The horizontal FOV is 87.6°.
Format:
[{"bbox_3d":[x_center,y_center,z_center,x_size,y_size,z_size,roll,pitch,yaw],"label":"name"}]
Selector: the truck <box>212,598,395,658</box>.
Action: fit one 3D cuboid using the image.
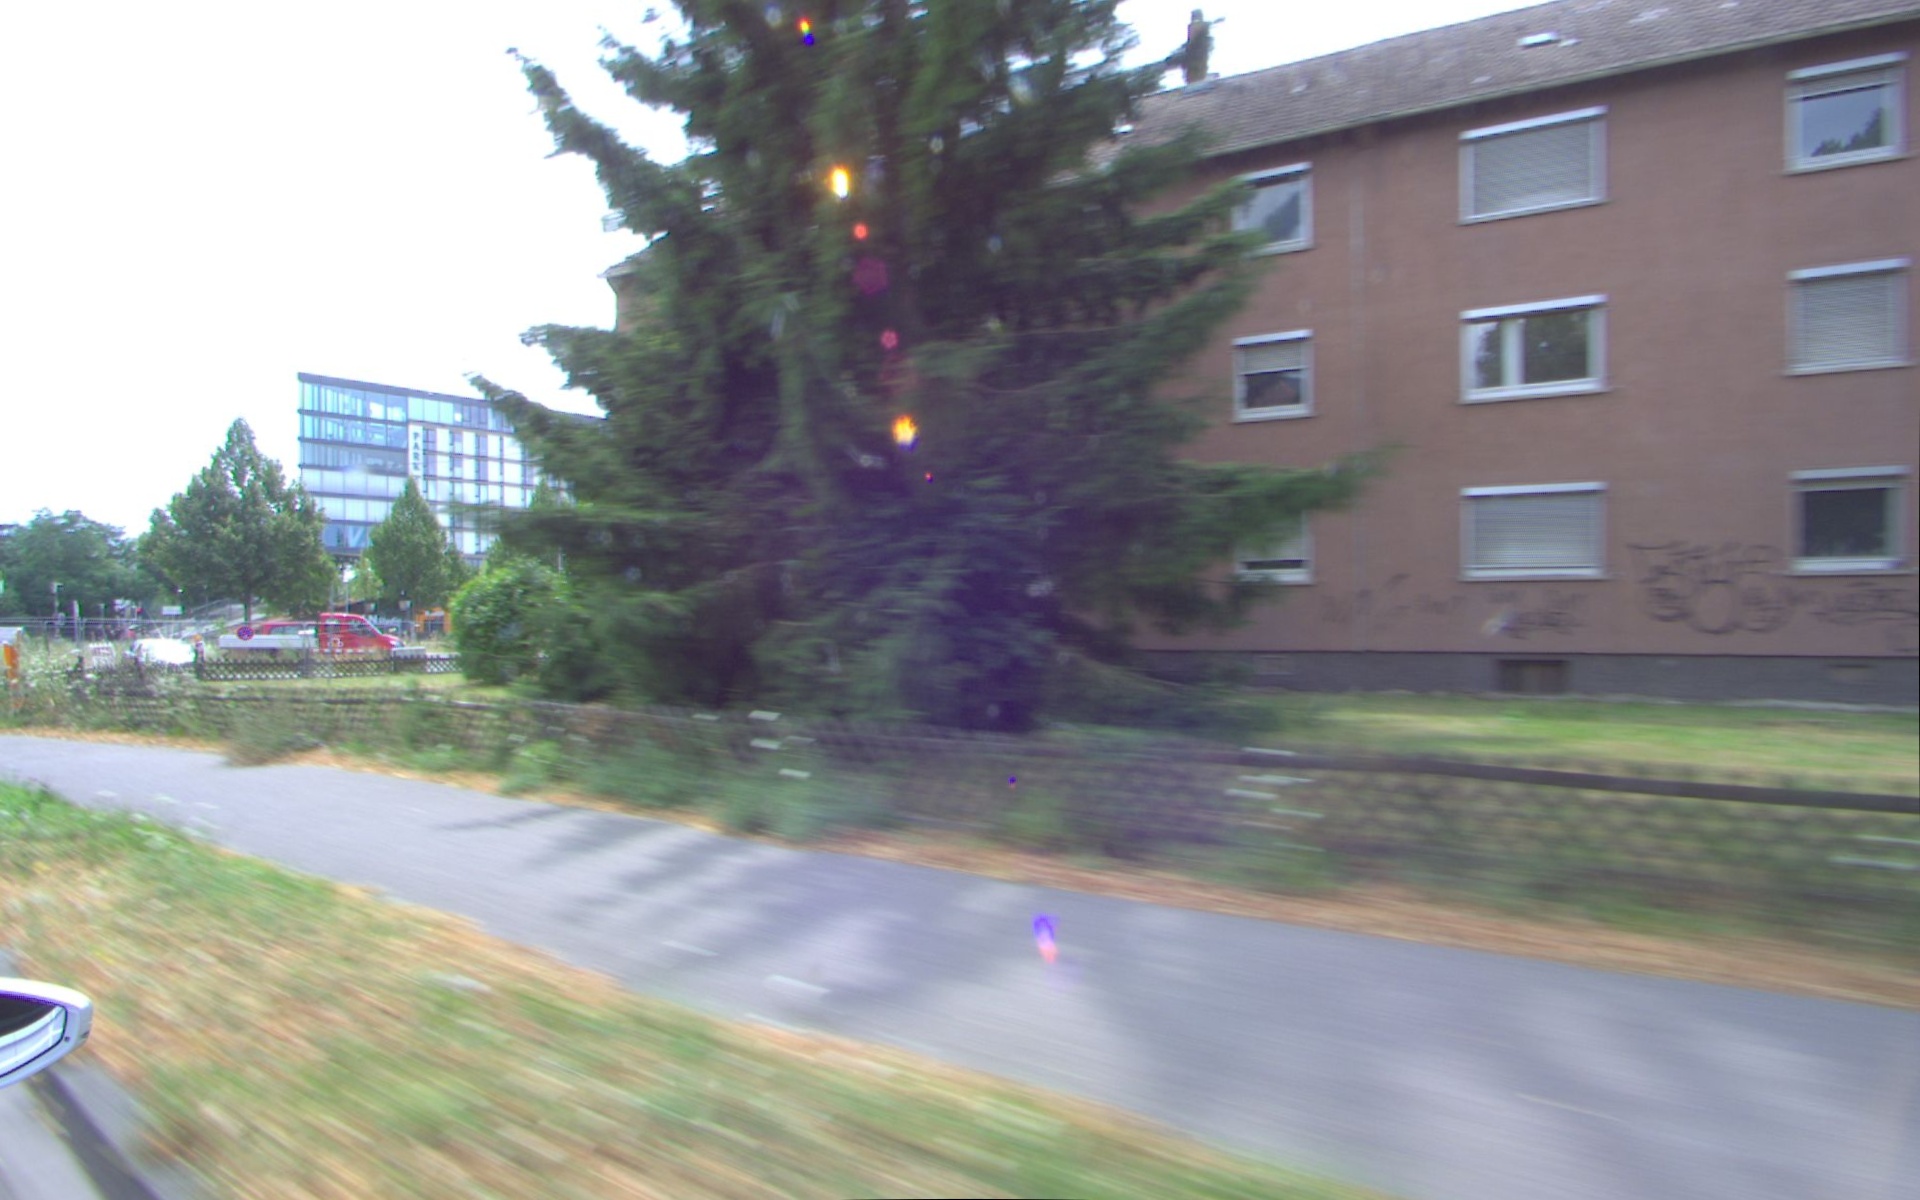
[{"bbox_3d":[-28.774,1.214,44.181,6.593,2.457,2.519,1,-1,-33],"label":"truck"}]
